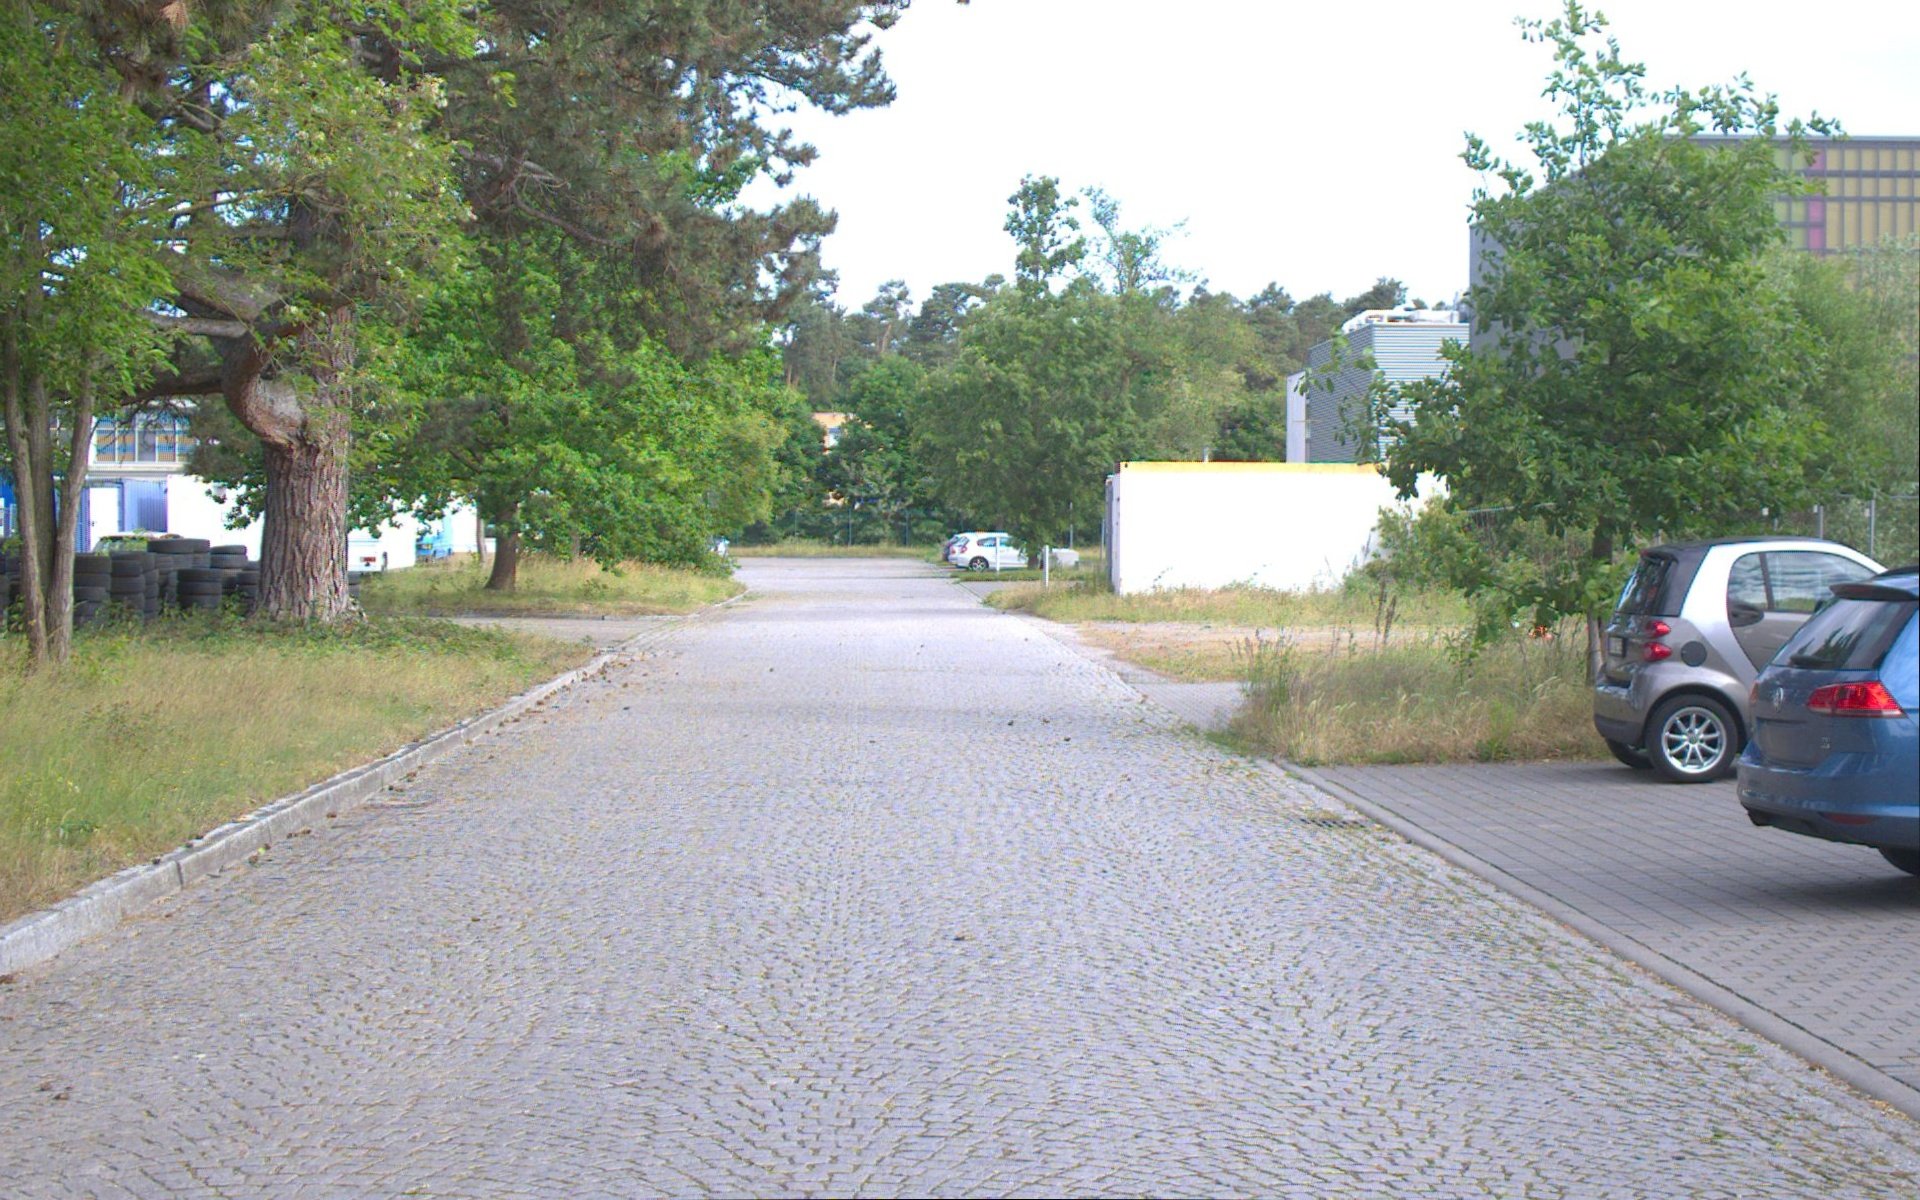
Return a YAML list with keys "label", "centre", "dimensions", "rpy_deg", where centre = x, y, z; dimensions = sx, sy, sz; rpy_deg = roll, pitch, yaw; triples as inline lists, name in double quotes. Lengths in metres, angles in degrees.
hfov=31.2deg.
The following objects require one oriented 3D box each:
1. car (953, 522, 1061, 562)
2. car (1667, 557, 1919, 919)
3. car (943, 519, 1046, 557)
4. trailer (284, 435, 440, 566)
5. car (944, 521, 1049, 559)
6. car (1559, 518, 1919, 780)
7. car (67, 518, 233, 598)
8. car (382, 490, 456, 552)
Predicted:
- label: "car"
  centre: [1.750, -2.196, 129.921]
  dimensions: [3.987, 1.450, 2.000]
  rpy_deg: [1, 1, -1]
- label: "car"
  centre: [5.665, 0.508, 15.366]
  dimensions: [4.524, 1.445, 1.932]
  rpy_deg: [-2, 1, -3]
- label: "car"
  centre: [1.349, -2.438, 135.120]
  dimensions: [3.987, 1.450, 1.770]
  rpy_deg: [0, 1, -1]
- label: "trailer"
  centre: [-17.652, -2.917, 102.136]
  dimensions: [2.656, 3.693, 10.722]
  rpy_deg: [0, 1, 1]
- label: "car"
  centre: [1.387, -2.315, 132.081]
  dimensions: [3.987, 1.450, 1.697]
  rpy_deg: [0, 1, -1]
- label: "car"
  centre: [5.501, 0.286, 22.651]
  dimensions: [2.741, 1.576, 1.683]
  rpy_deg: [-2, 1, -1]
- label: "car"
  centre: [-15.017, -0.804, 63.948]
  dimensions: [1.824, 1.427, 4.218]
  rpy_deg: [1, 1, 4]
- label: "car"
  centre: [-22.278, -3.241, 141.738]
  dimensions: [1.993, 2.514, 5.618]
  rpy_deg: [0, 1, 2]
